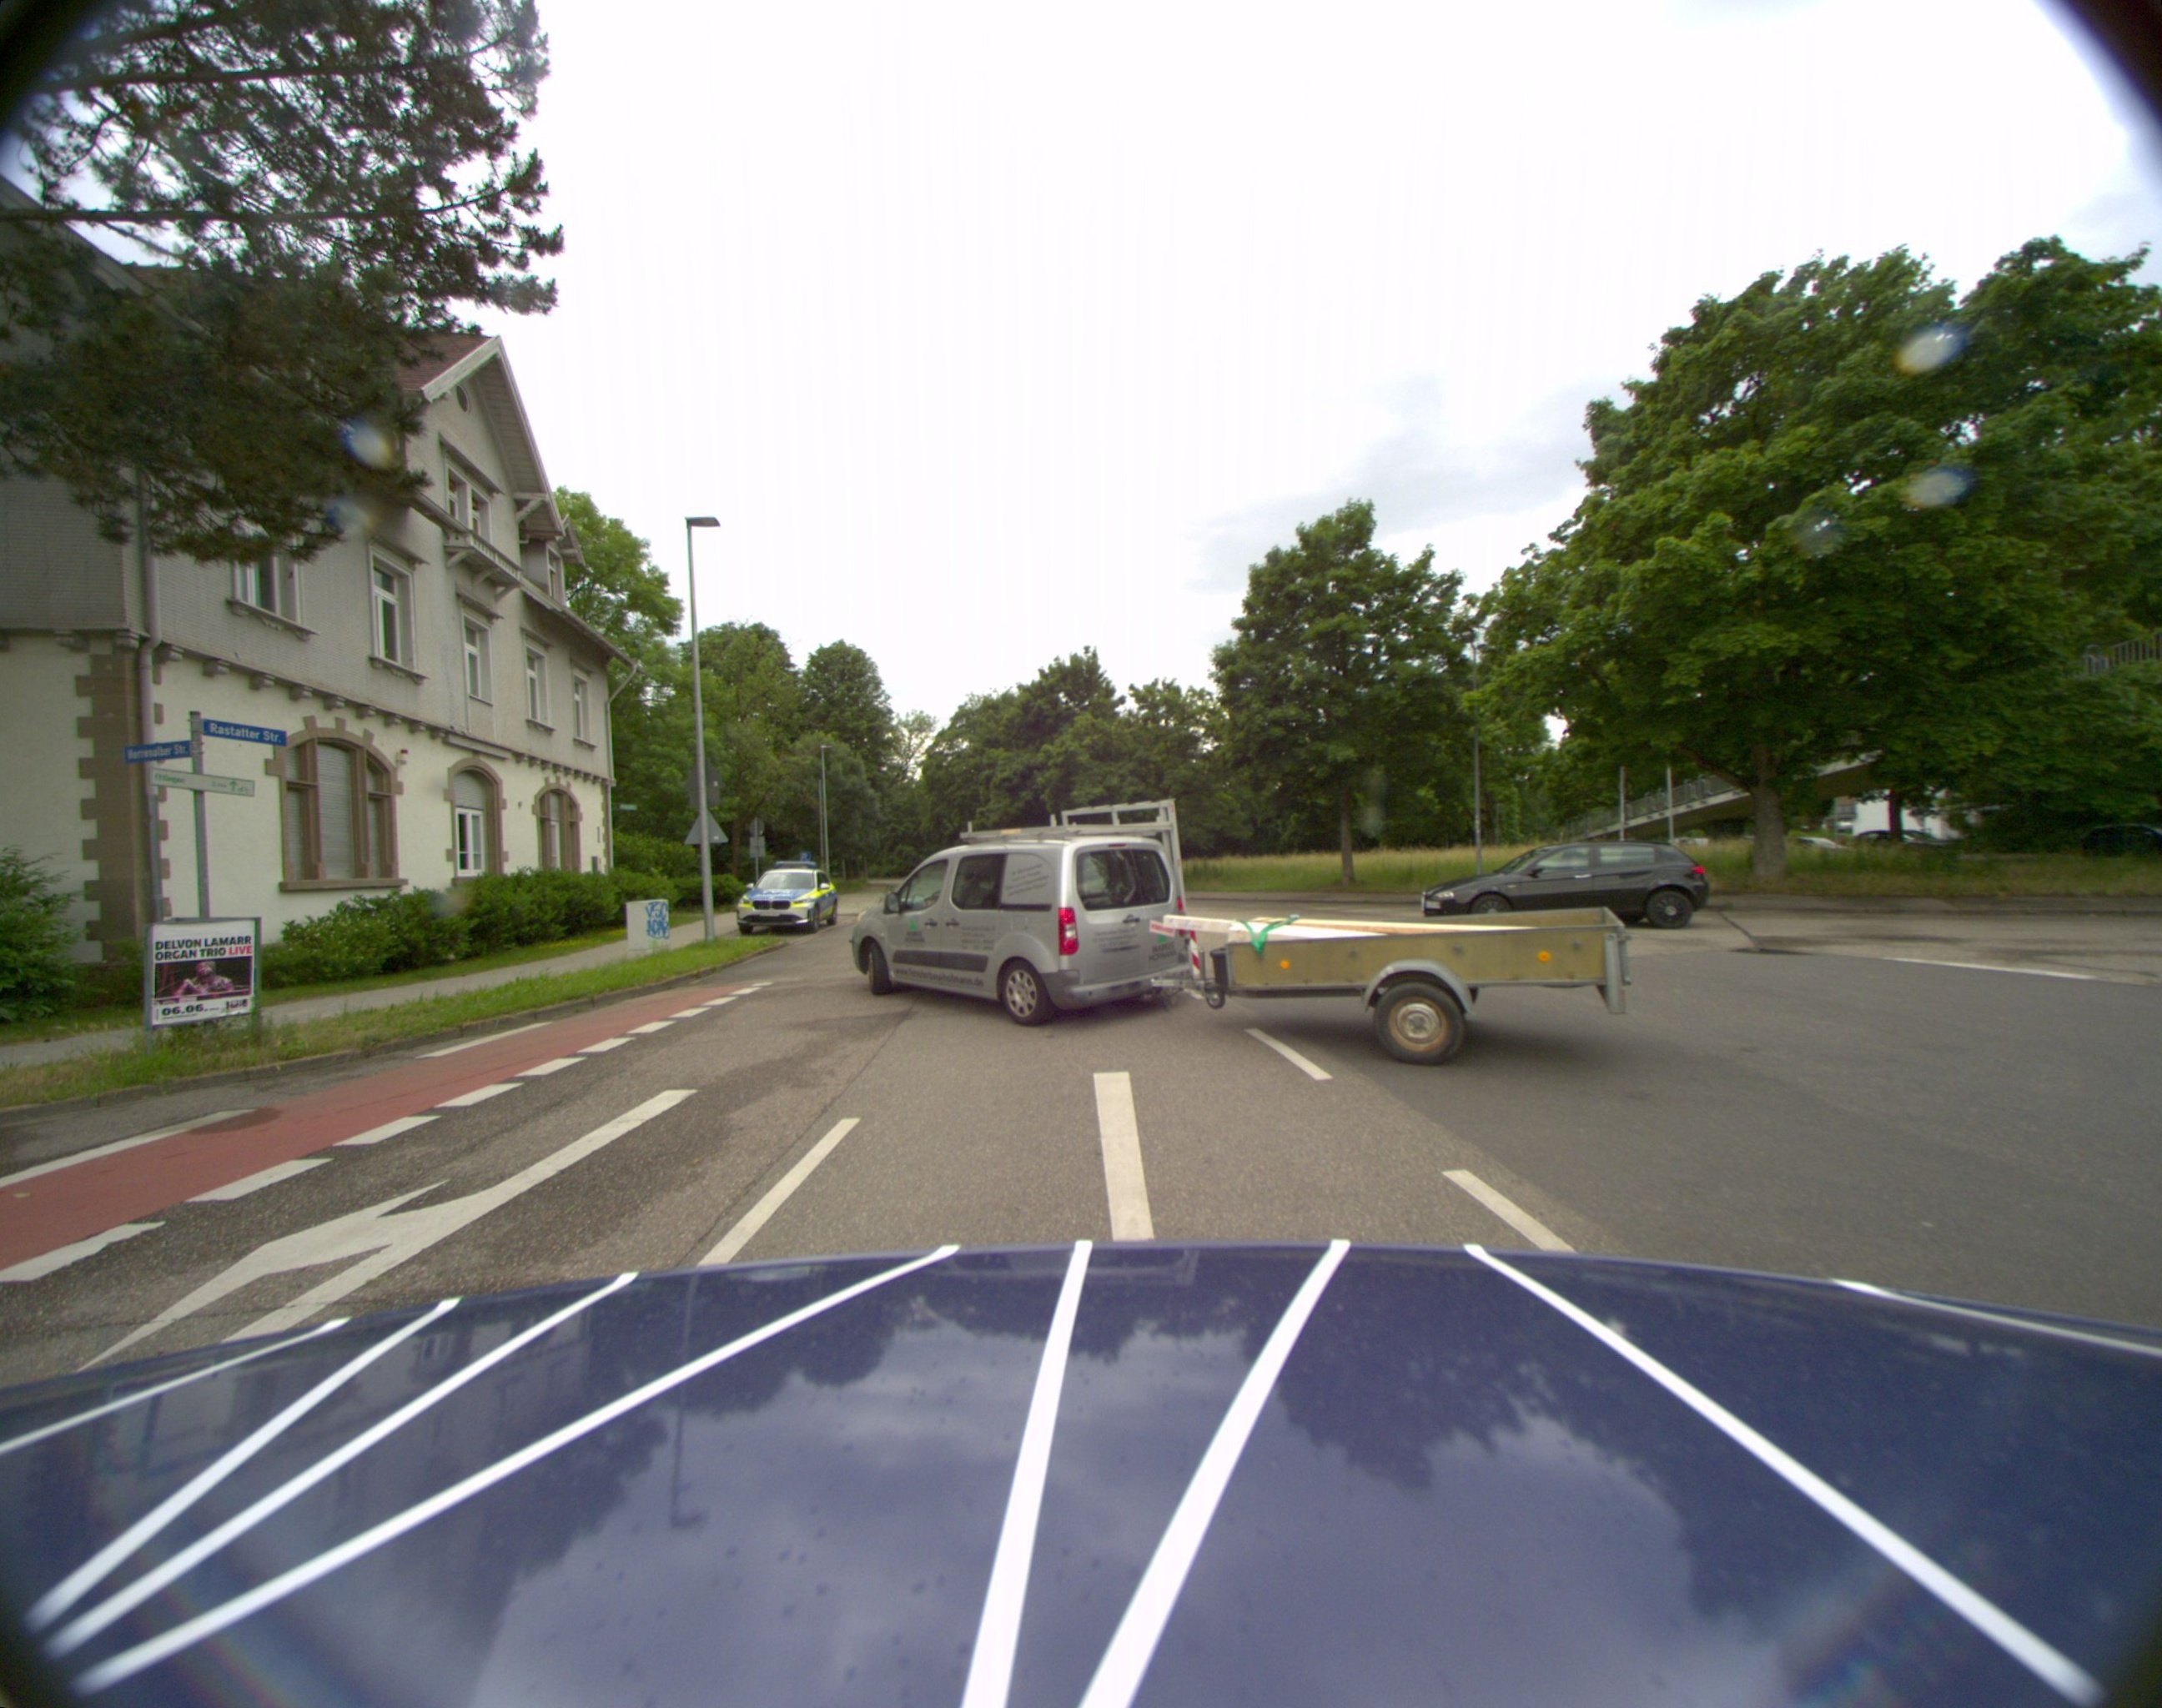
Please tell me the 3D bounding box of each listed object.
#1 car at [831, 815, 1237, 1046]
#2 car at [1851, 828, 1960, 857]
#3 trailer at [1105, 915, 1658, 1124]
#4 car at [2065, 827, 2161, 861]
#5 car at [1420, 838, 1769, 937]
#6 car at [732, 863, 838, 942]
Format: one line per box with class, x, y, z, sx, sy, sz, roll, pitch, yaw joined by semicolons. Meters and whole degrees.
car;-0.701;0.632;8.303;4.210;1.847;2.099;-2;0;45
car;41.824;-0.575;38.688;1.692;1.343;4.003;-2;0;11
trailer;2.101;1.055;5.800;3.456;0.980;1.574;-2;1;28
car;40.402;-0.393;28.710;1.692;1.231;4.003;-2;0;11
car;8.354;0.558;12.873;4.532;1.448;1.806;-2;0;16
car;-7.617;1.153;19.931;1.937;1.839;3.996;0;0;-12
